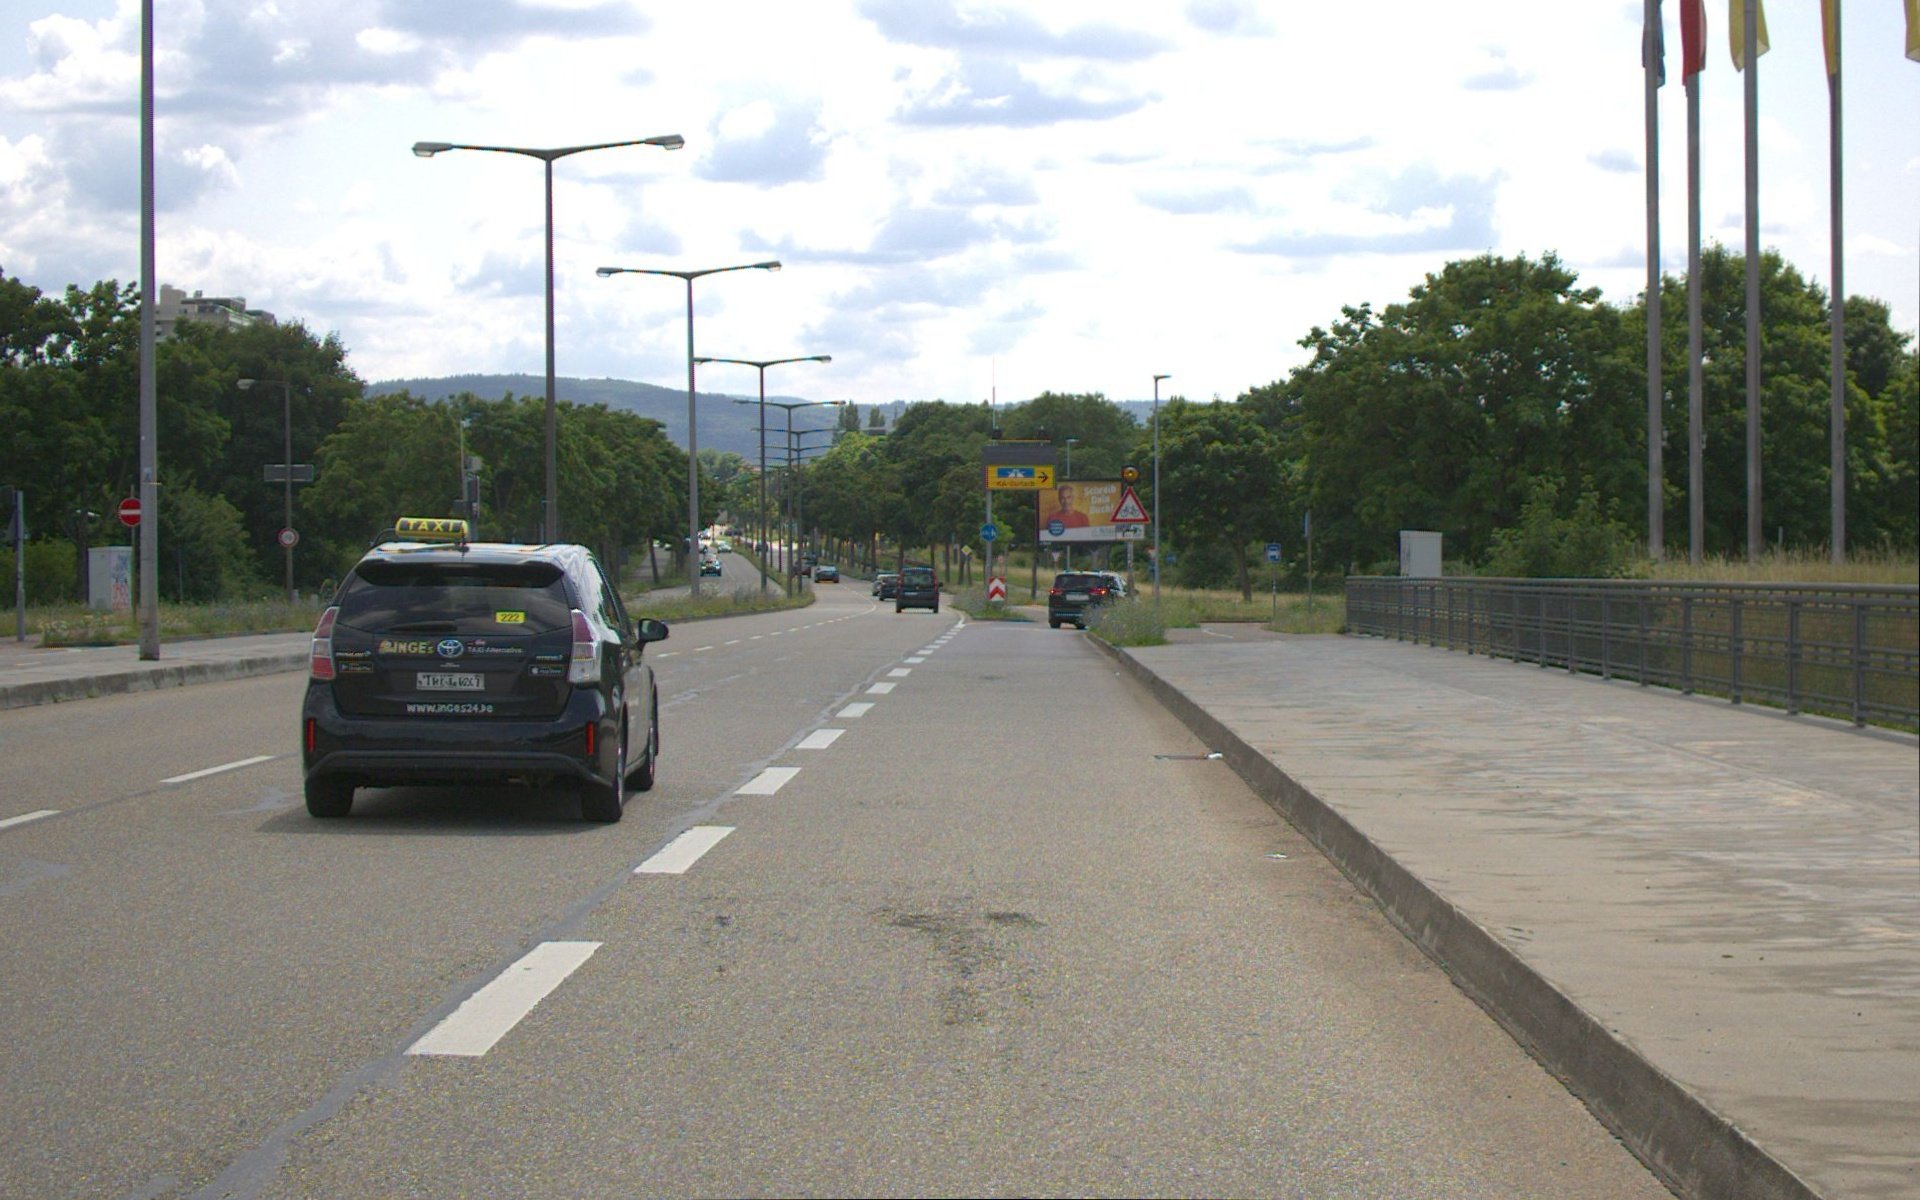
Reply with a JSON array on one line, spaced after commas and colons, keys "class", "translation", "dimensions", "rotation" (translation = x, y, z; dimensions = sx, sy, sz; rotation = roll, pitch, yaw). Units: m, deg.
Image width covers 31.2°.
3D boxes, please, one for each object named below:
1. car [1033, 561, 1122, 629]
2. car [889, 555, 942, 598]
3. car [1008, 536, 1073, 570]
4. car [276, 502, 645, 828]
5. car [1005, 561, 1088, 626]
[{"class": "car", "translation": [3.084, -0.155, 91.208], "dimensions": [1.993, 1.656, 4.001], "rotation": [1, 2, -3]}, {"class": "car", "translation": [-1.853, -0.980, 141.502], "dimensions": [1.993, 1.656, 4.001], "rotation": [1, 2, -3]}, {"class": "car", "translation": [4.269, -2.510, 181.959], "dimensions": [1.993, 1.656, 4.001], "rotation": [1, 2, -22]}, {"class": "car", "translation": [-2.834, 0.292, 20.253], "dimensions": [1.779, 1.678, 4.001], "rotation": [1, 2, -3]}, {"class": "car", "translation": [2.386, -0.196, 96.076], "dimensions": [1.993, 1.656, 4.001], "rotation": [1, 2, -3]}]
